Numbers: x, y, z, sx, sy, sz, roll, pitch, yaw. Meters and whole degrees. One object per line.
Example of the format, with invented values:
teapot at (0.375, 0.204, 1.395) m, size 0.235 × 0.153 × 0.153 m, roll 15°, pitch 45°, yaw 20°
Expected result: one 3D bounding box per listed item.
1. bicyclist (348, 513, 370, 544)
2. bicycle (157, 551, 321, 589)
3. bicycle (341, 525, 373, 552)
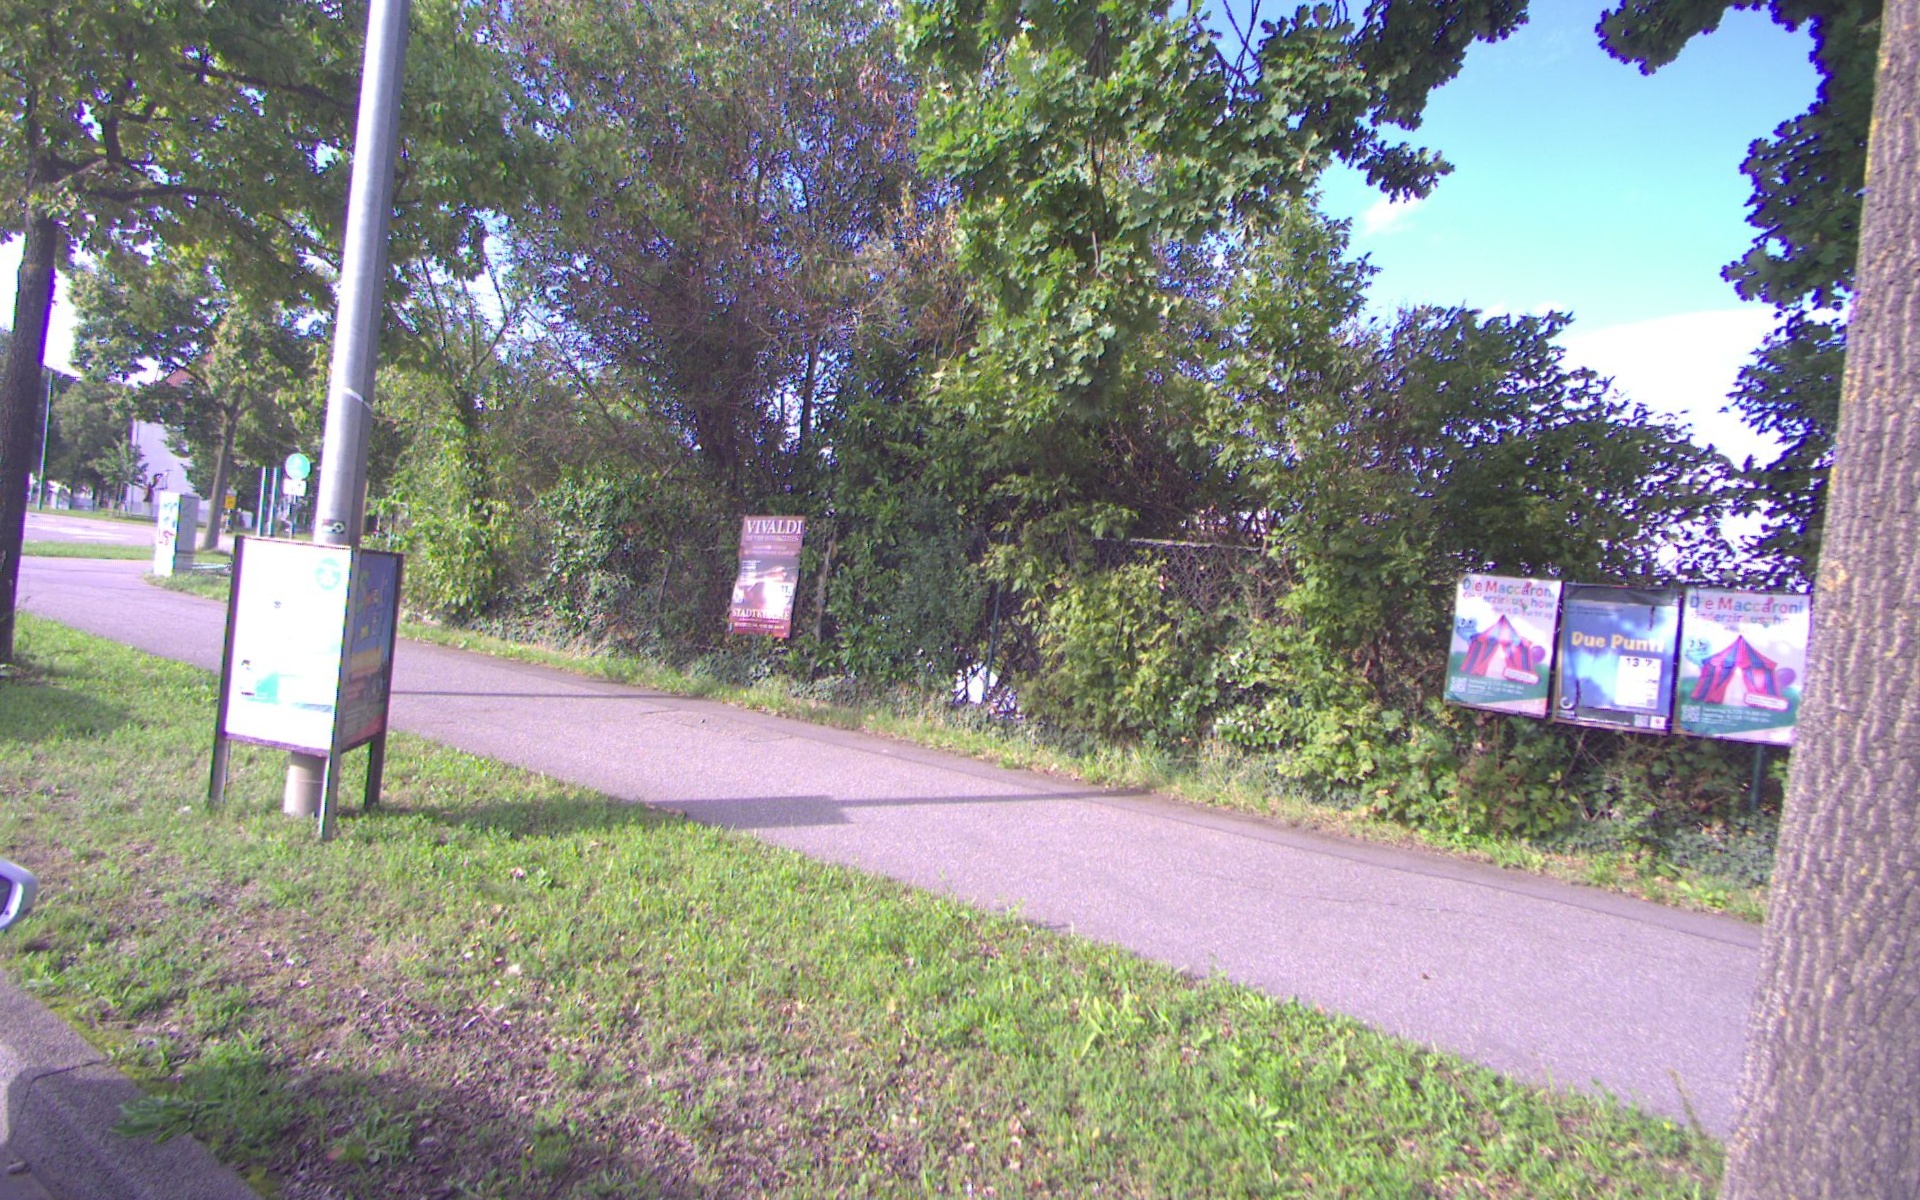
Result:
bicyclist at (-41.836, -4.976, 70.005) m, size 1.126 × 2.038 × 0.839 m, roll 7°, pitch 0°, yaw 42°
bicycle at (-13.970, -0.581, 19.519) m, size 2.529 × 0.390 × 1.411 m, roll 7°, pitch 0°, yaw 21°
bicycle at (-42.059, -4.292, 70.143) m, size 2.461 × 1.681 × 1.042 m, roll 7°, pitch -1°, yaw 42°
